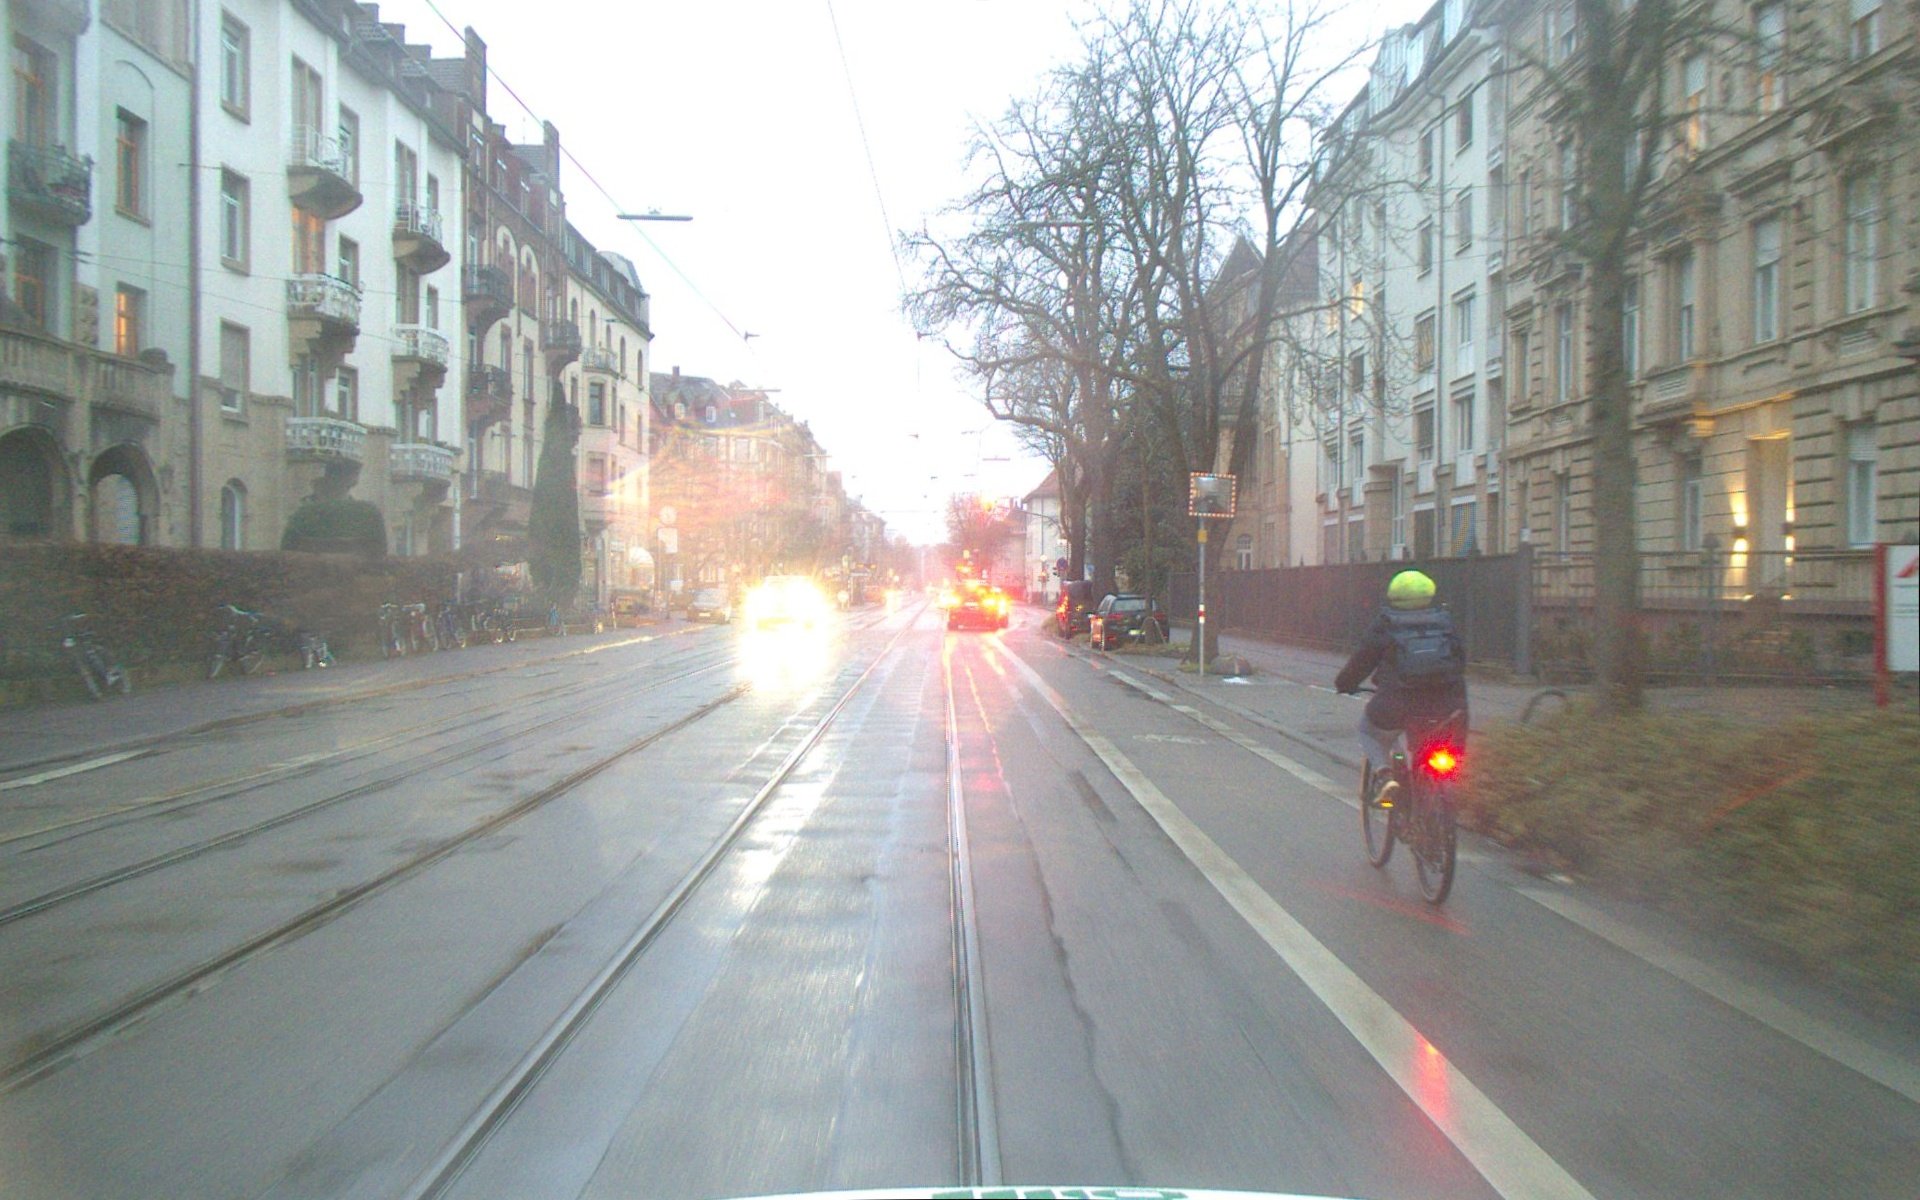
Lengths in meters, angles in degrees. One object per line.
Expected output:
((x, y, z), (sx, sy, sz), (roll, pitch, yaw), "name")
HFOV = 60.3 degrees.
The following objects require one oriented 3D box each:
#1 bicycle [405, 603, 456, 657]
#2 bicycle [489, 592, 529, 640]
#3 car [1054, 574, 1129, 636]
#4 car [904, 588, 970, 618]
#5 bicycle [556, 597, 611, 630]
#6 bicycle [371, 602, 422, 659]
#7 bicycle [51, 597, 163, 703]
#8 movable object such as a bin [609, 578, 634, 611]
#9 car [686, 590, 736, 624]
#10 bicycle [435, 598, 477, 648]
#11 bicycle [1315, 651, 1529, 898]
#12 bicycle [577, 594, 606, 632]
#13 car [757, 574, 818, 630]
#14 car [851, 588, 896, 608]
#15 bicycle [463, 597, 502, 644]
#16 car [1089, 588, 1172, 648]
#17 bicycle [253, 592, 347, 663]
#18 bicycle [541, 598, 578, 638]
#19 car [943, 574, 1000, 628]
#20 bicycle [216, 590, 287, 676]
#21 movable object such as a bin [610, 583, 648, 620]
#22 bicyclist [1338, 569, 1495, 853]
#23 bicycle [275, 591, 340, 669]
((-10.951, 0.626, 34.242), (0.679, 1.049, 1.594), (-1, -3, -6), "bicycle")
((-10.989, 0.385, 40.361), (0.476, 1.118, 1.930), (-1, 1, -2), "bicycle")
((4.333, 0.123, 55.182), (1.953, 1.933, 5.026), (0, 1, -2), "car")
((-1.385, 0.172, 100.098), (3.905, 1.758, 1.740), (0, 1, 1), "car")
((-12.863, 0.467, 56.599), (1.771, 1.099, 0.615), (-1, 1, -8), "bicycle")
((-10.938, 0.603, 32.146), (0.679, 1.049, 1.591), (-1, -3, -10), "bicycle")
((-10.578, 0.598, 20.556), (0.679, 1.233, 1.595), (-1, 1, -6), "bicycle")
((-16.980, -0.269, 83.077), (0.993, 1.628, 1.081), (0, 1, 1), "movable object such as a bin")
((-11.696, 0.317, 77.889), (1.796, 1.472, 4.000), (0, 1, -1), "car")
((-10.955, 0.509, 35.992), (0.679, 1.049, 1.593), (-1, -1, -10), "bicycle")
((2.501, 0.896, 9.193), (0.692, 1.116, 2.030), (0, 1, 2), "bicycle")
((-11.180, 0.372, 50.224), (0.602, 1.099, 1.809), (-1, 1, -5), "bicycle")
((-6.404, 0.022, 61.810), (2.005, 1.955, 5.097), (0, 1, -3), "car")
((-7.833, -0.219, 149.513), (3.912, 1.747, 1.900), (-1, 1, -8), "car")
((-10.967, 0.469, 38.032), (0.679, 1.049, 1.593), (-1, 0, -10), "bicycle")
((4.422, 0.435, 43.408), (1.643, 1.485, 4.041), (0, 1, -2), "car")
((-12.467, 0.520, 31.257), (1.556, 1.286, 0.490), (-1, -4, 3), "bicycle")
((-10.990, 0.478, 45.417), (0.613, 1.035, 1.805), (-1, 1, -2), "bicycle")
((0.400, 0.063, 62.600), (1.953, 1.930, 4.757), (1, -1, -2), "car")
((-10.725, 0.480, 25.072), (0.618, 1.233, 1.593), (-1, 1, -10), "bicycle")
((-14.443, 0.048, 72.122), (1.380, 1.557, 1.365), (0, 1, -1), "movable object such as a bin")
((2.478, 0.572, 9.045), (0.642, 1.471, 0.849), (0, 1, 2), "bicyclist")
((-10.919, 0.482, 27.735), (0.679, 1.233, 1.593), (-1, 1, -10), "bicycle")
